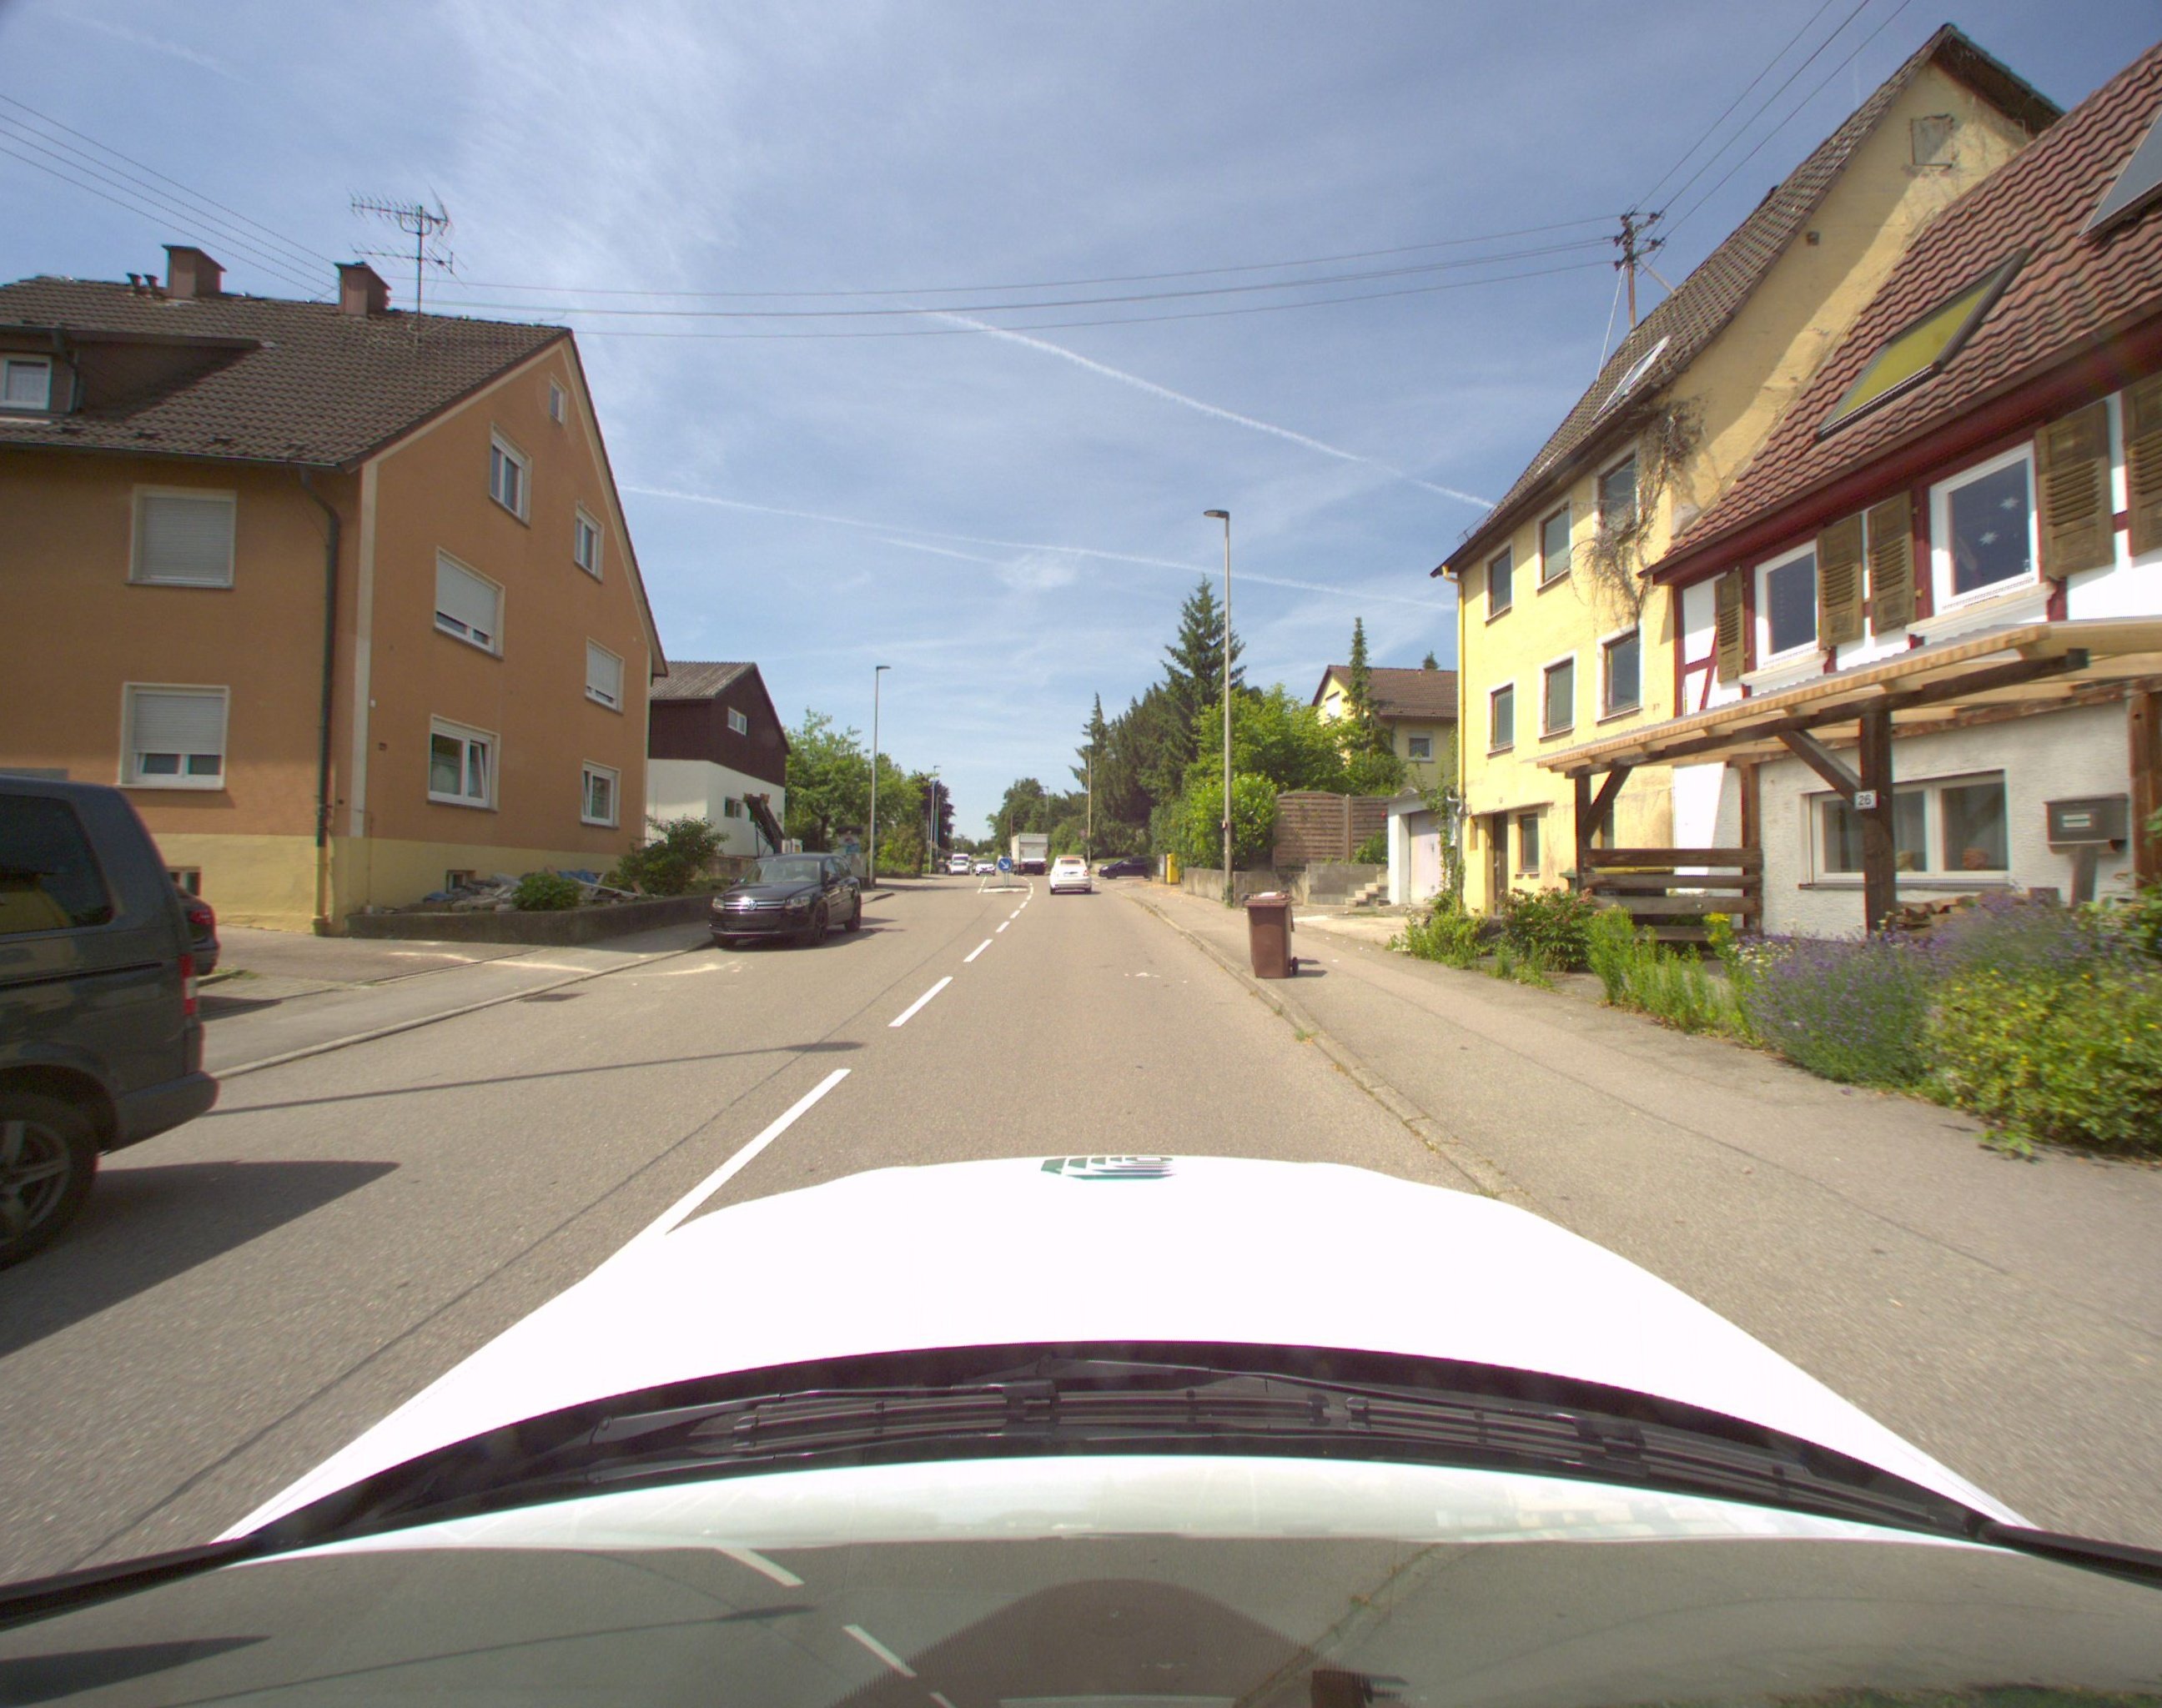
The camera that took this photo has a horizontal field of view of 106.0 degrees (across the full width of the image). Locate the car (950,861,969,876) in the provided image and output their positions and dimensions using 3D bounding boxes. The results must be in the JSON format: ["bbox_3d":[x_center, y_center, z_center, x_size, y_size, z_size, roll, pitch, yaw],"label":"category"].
[{"bbox_3d":[-12.080,1.411,80.896,1.805,1.398,3.986,0,-1,-10],"label":"car"}]

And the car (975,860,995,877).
[{"bbox_3d":[-9.035,1.357,77.138,1.781,1.529,4.162,-1,-1,-6],"label":"car"}]

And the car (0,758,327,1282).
[{"bbox_3d":[-4.938,0.624,1.803,1.885,1.937,4.984,-1,0,0],"label":"car"}]

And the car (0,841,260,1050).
[{"bbox_3d":[-9.913,0.586,6.653,4.222,1.405,1.818,4,0,-6],"label":"car"}]

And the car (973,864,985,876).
[{"bbox_3d":[-12.997,2.076,104.125,1.479,1.510,2.793,-1,-1,-8],"label":"car"}]

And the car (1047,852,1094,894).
[{"bbox_3d":[-0.492,0.746,32.999,1.721,1.560,3.995,-1,0,-3],"label":"car"}]

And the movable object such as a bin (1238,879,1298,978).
[{"bbox_3d":[2.098,0.824,9.109,0.490,1.033,0.551,-4,-1,23],"label":"movable object such as a bin"}]

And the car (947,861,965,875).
[{"bbox_3d":[-13.306,1.443,86.355,1.805,1.398,3.953,0,-1,-10],"label":"car"}]

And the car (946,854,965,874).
[{"bbox_3d":[-14.209,1.135,91.937,2.037,2.200,5.562,0,-1,-10],"label":"car"}]

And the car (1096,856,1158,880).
[{"bbox_3d":[3.003,0.918,53.893,3.927,1.458,1.656,-1,-1,-5],"label":"car"}]

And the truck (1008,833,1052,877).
[{"bbox_3d":[-4.738,0.145,74.470,3.069,3.774,7.839,0,-1,-10],"label":"truck"}]

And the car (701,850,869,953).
[{"bbox_3d":[-5.359,0.772,15.384,1.764,1.636,4.283,-1,0,-3],"label":"car"}]

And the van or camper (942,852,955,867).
[{"bbox_3d":[-27.070,1.170,166.528,2.262,2.962,5.875,1,-1,-6],"label":"van or camper"}]

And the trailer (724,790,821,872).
[{"bbox_3d":[-11.722,-0.796,31.427,1.709,2.848,6.165,1,0,-4],"label":"trailer"}]
